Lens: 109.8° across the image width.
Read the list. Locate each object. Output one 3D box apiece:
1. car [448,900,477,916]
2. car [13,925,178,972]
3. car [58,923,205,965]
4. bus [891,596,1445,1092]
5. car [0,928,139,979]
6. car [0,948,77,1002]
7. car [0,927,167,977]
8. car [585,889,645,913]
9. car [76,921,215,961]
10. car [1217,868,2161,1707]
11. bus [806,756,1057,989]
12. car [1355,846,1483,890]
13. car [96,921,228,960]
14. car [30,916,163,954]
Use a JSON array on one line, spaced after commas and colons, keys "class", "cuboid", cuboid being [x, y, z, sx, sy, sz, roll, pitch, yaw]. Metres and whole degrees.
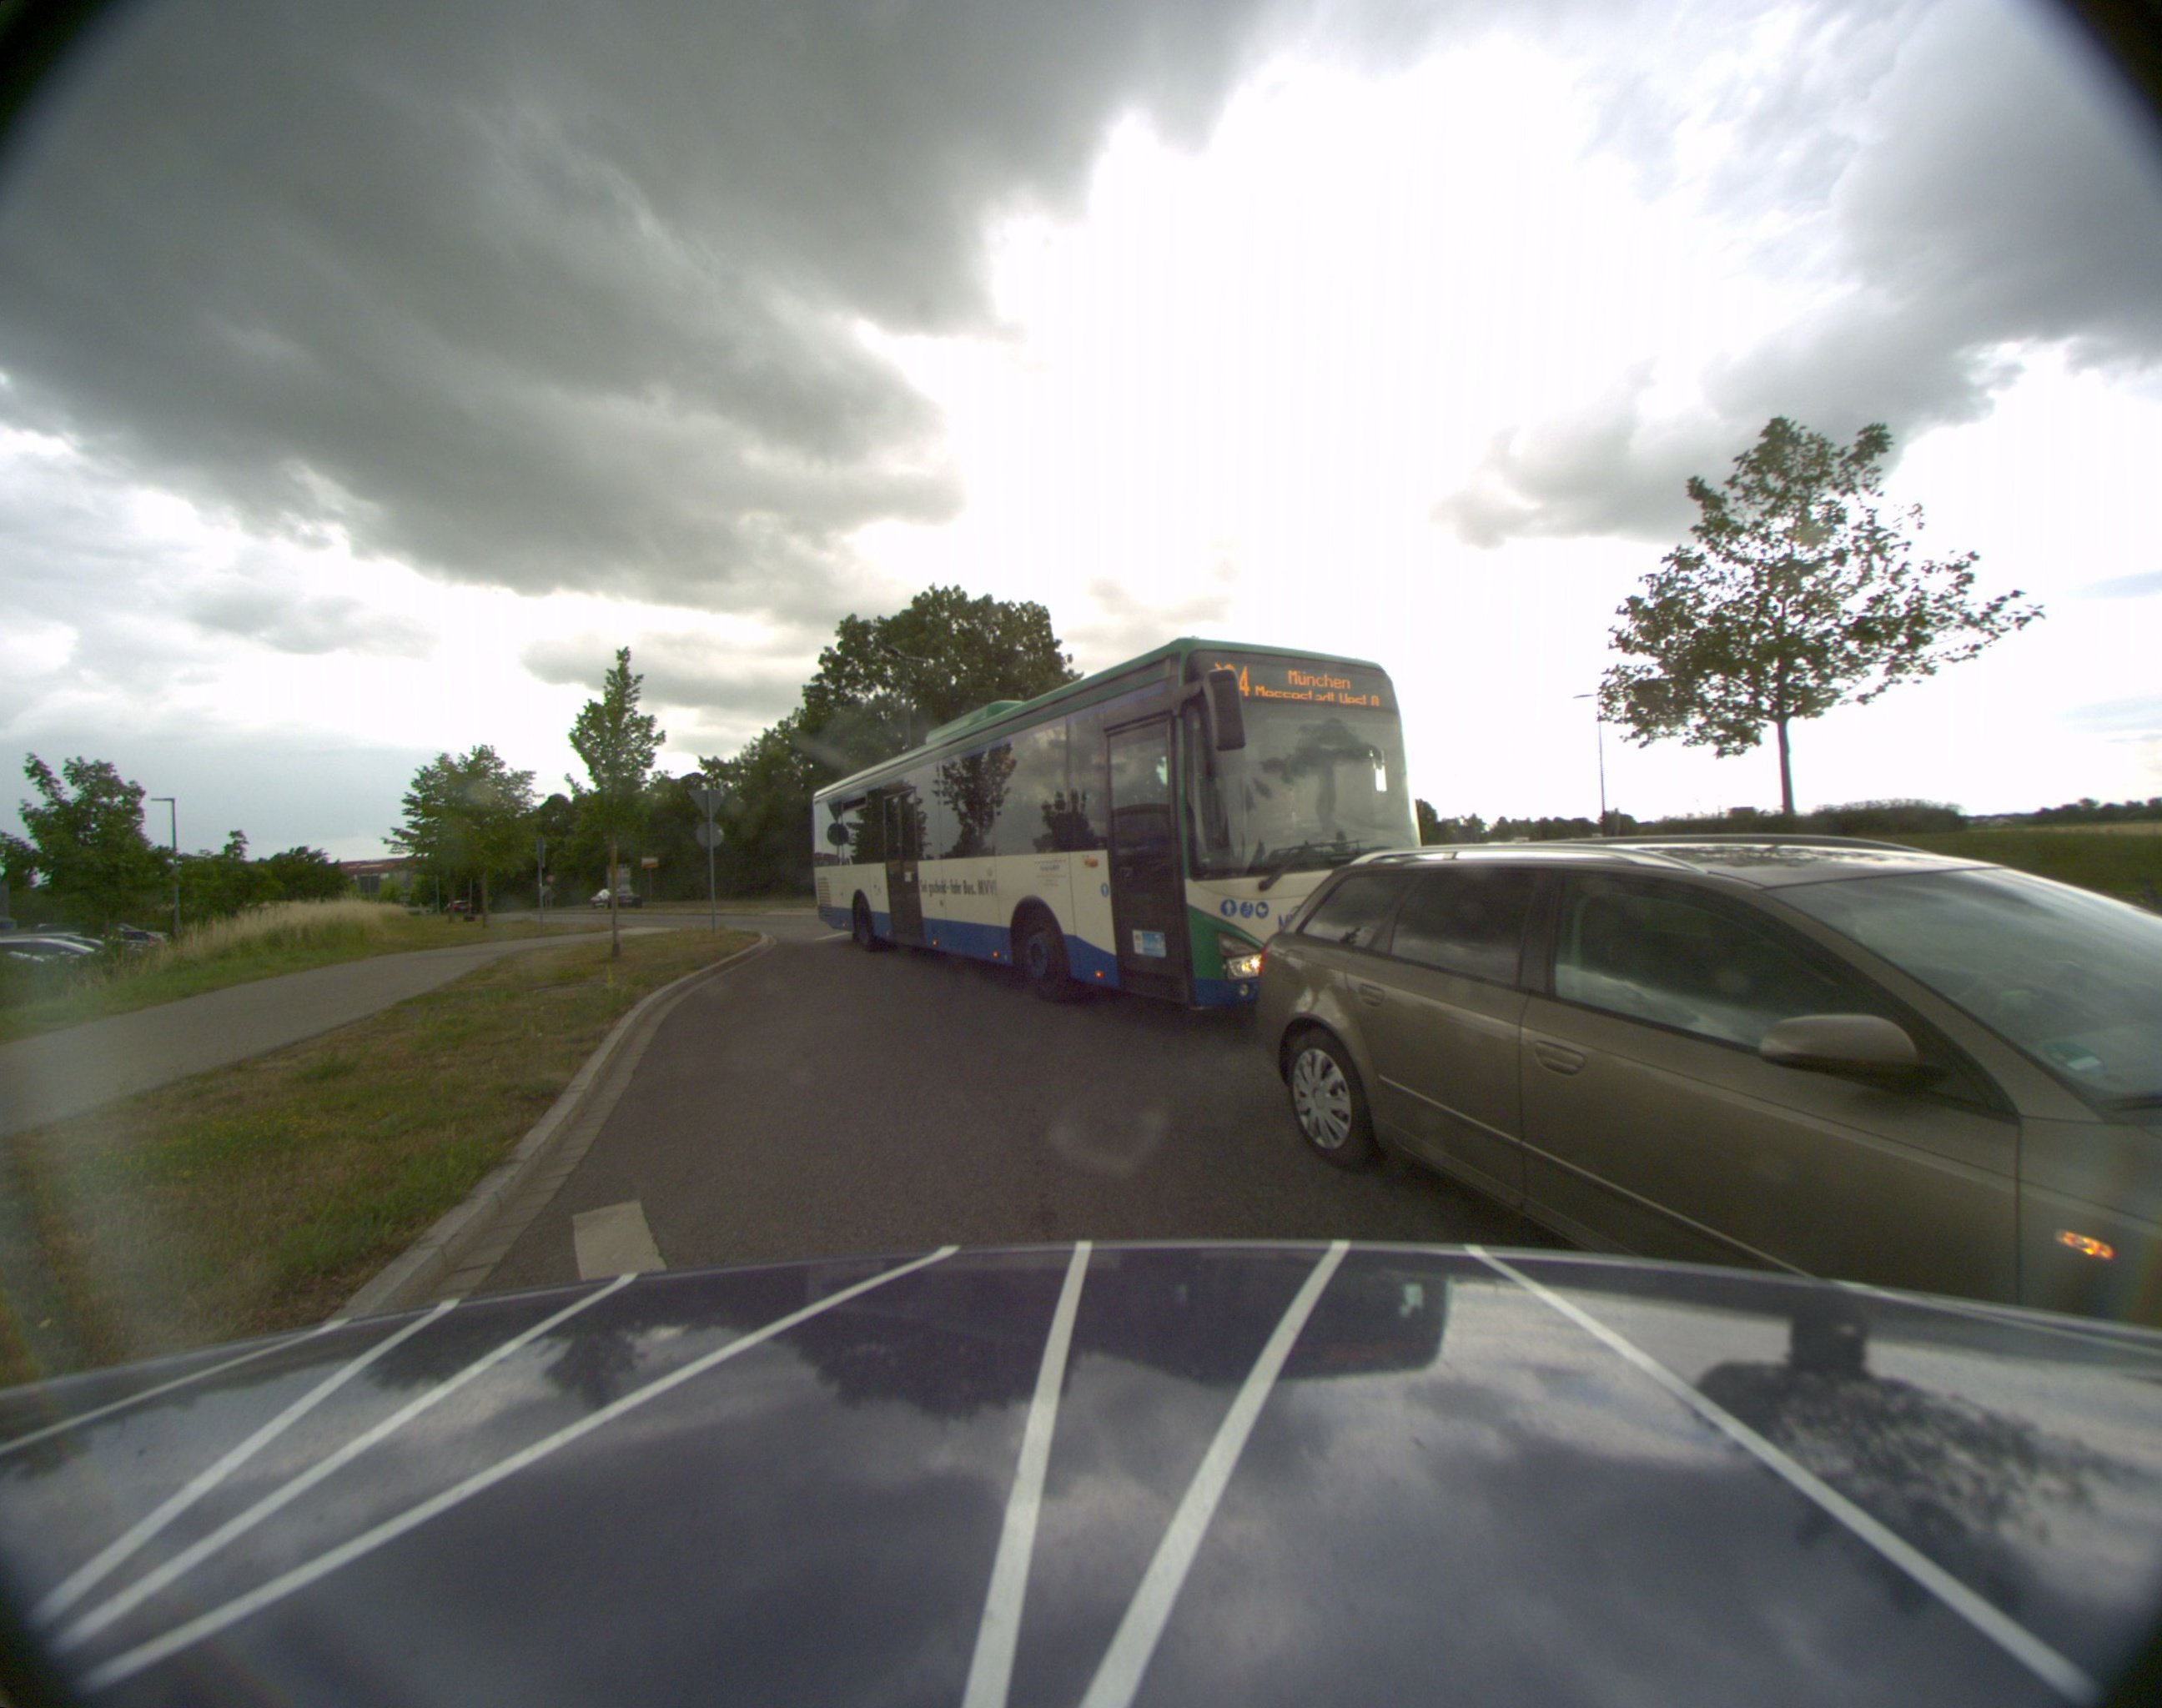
[{"class": "car", "cuboid": [-62.743, 5.434, 77.104, 3.572, 1.496, 1.647, -3, 0, 41]}, {"class": "car", "cuboid": [-41.421, 3.920, 32.080, 3.896, 1.455, 1.693, -2, 0, -37]}, {"class": "car", "cuboid": [-43.651, 4.100, 35.063, 3.896, 1.455, 1.693, -2, 0, -37]}, {"class": "bus", "cuboid": [0.210, -0.085, 8.403, 2.529, 3.239, 6.532, -2, 1, -32]}, {"class": "car", "cuboid": [-37.309, 3.596, 27.370, 3.896, 1.455, 1.693, -2, 0, -37]}, {"class": "car", "cuboid": [-35.012, 3.939, 23.827, 3.896, 1.455, 1.693, -2, 0, -37]}, {"class": "car", "cuboid": [-39.195, 3.797, 29.840, 3.896, 1.455, 1.693, -2, 0, -37]}, {"class": "car", "cuboid": [-28.140, 2.839, 45.828, 4.103, 1.299, 1.835, -3, -1, 40]}, {"class": "car", "cuboid": [-45.126, 4.167, 36.774, 3.896, 1.455, 1.693, -2, 0, -37]}, {"class": "car", "cuboid": [2.235, 0.810, 2.231, 1.784, 1.456, 4.535, -2, 0, -16]}, {"class": "bus", "cuboid": [-2.927, 0.229, 13.533, 2.529, 3.239, 5.447, -2, 1, -32]}, {"class": "car", "cuboid": [13.954, 0.547, 31.312, 5.293, 1.489, 1.969, -2, 0, -29]}, {"class": "car", "cuboid": [-46.038, 4.295, 38.202, 3.896, 1.455, 1.693, -2, 0, -37]}, {"class": "car", "cuboid": [-49.902, 4.089, 38.634, 1.879, 1.435, 4.008, -2, 0, 39]}]
